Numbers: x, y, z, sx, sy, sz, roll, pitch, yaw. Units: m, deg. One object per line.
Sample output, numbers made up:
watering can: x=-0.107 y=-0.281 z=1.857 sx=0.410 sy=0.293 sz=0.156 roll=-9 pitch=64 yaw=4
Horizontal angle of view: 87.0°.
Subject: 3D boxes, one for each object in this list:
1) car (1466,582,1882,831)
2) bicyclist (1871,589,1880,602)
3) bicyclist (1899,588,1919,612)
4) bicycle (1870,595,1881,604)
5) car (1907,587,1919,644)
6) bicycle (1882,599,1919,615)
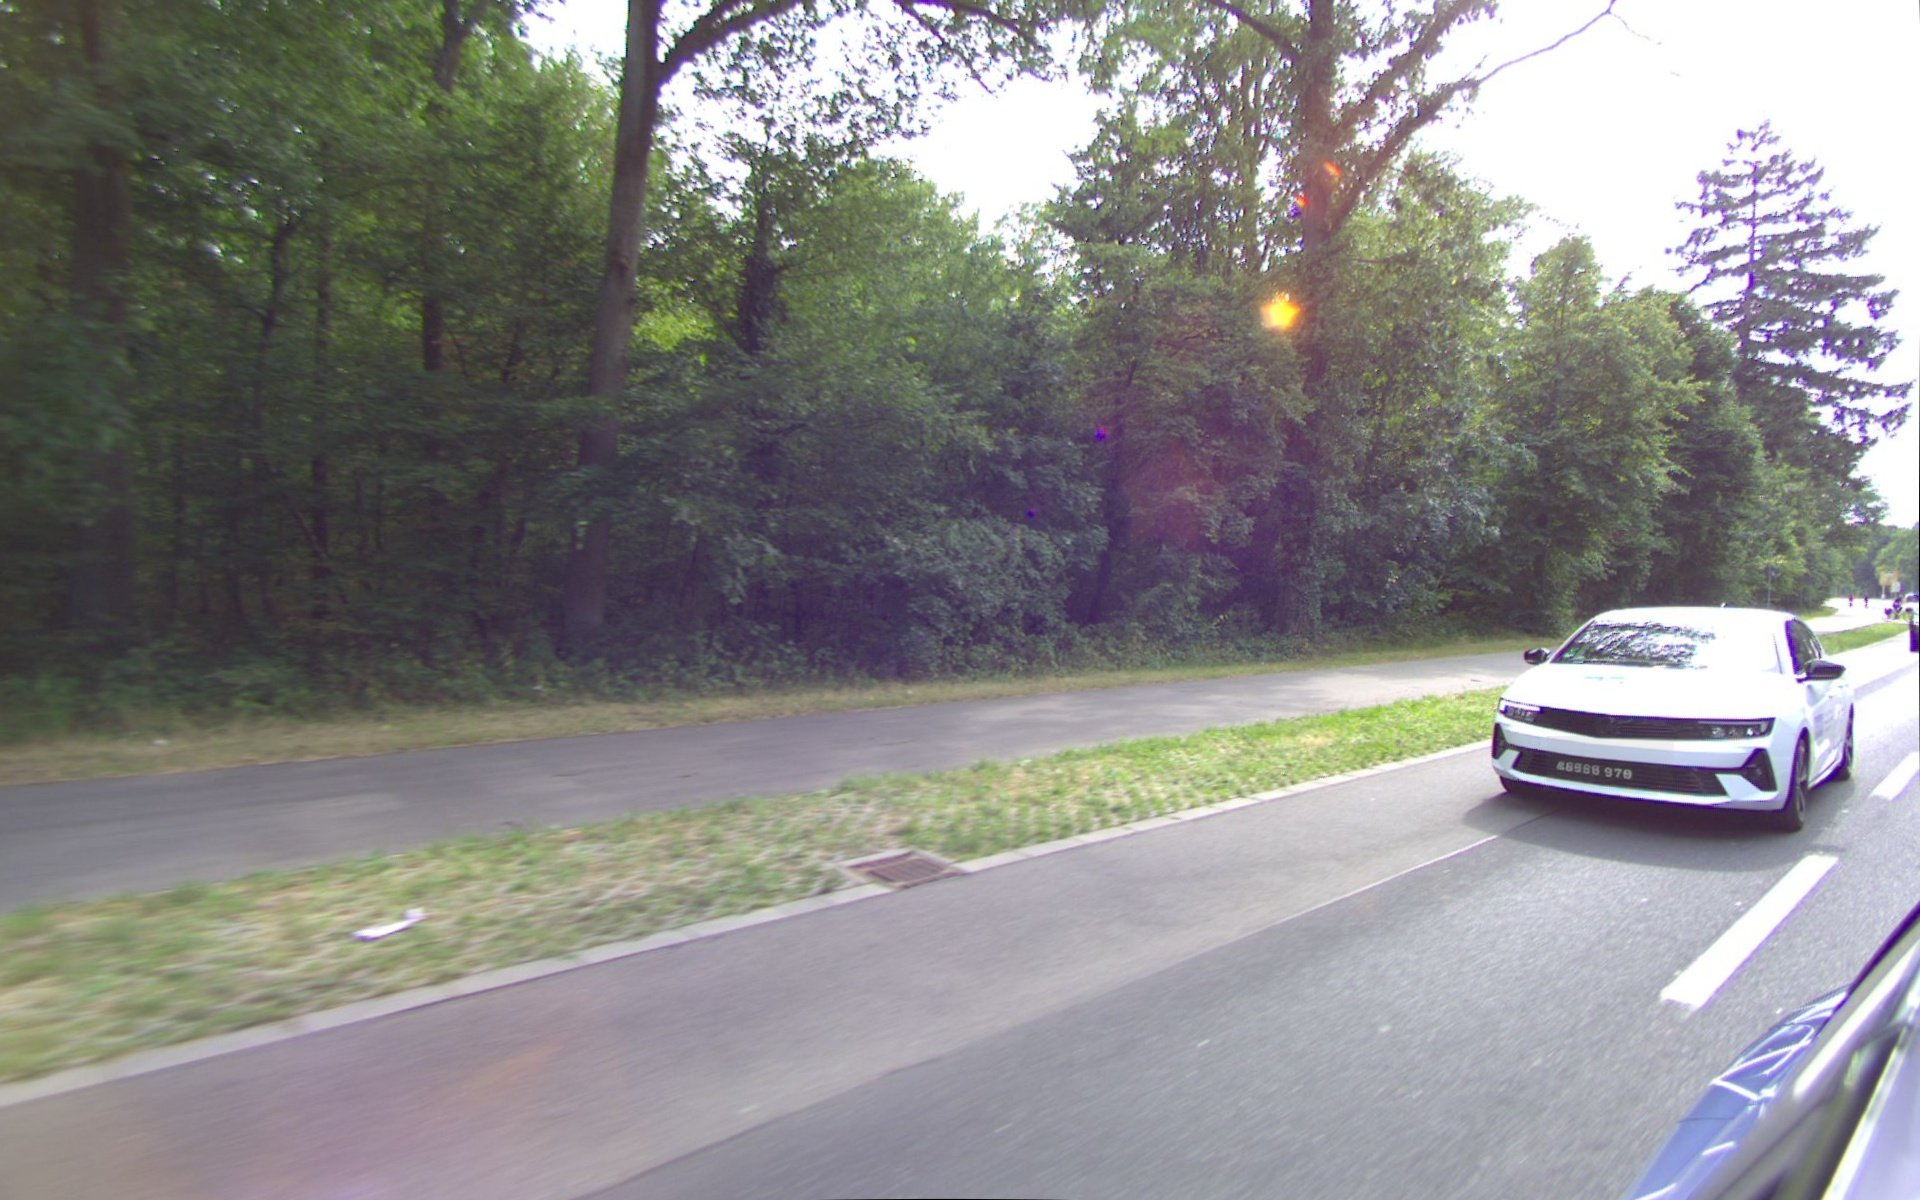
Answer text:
car: x=5.846 y=0.593 z=8.043 sx=4.415 sy=1.428 sz=1.838 roll=-1 pitch=0 yaw=-43
bicyclist: x=101.206 y=-0.540 z=111.922 sx=0.518 sy=1.433 sz=1.172 roll=1 pitch=1 yaw=33
bicyclist: x=59.784 y=-0.002 z=63.766 sx=0.699 sy=1.489 sz=0.899 roll=0 pitch=1 yaw=-45
bicycle: x=101.216 y=-0.020 z=111.927 sx=0.563 sy=0.923 sz=1.734 roll=4 pitch=3 yaw=33
car: x=28.879 y=0.443 z=29.339 sx=1.994 sy=1.593 sz=3.936 roll=2 pitch=2 yaw=44
bicycle: x=59.687 y=0.433 z=63.845 sx=0.699 sy=1.006 sz=2.175 roll=0 pitch=1 yaw=-44
